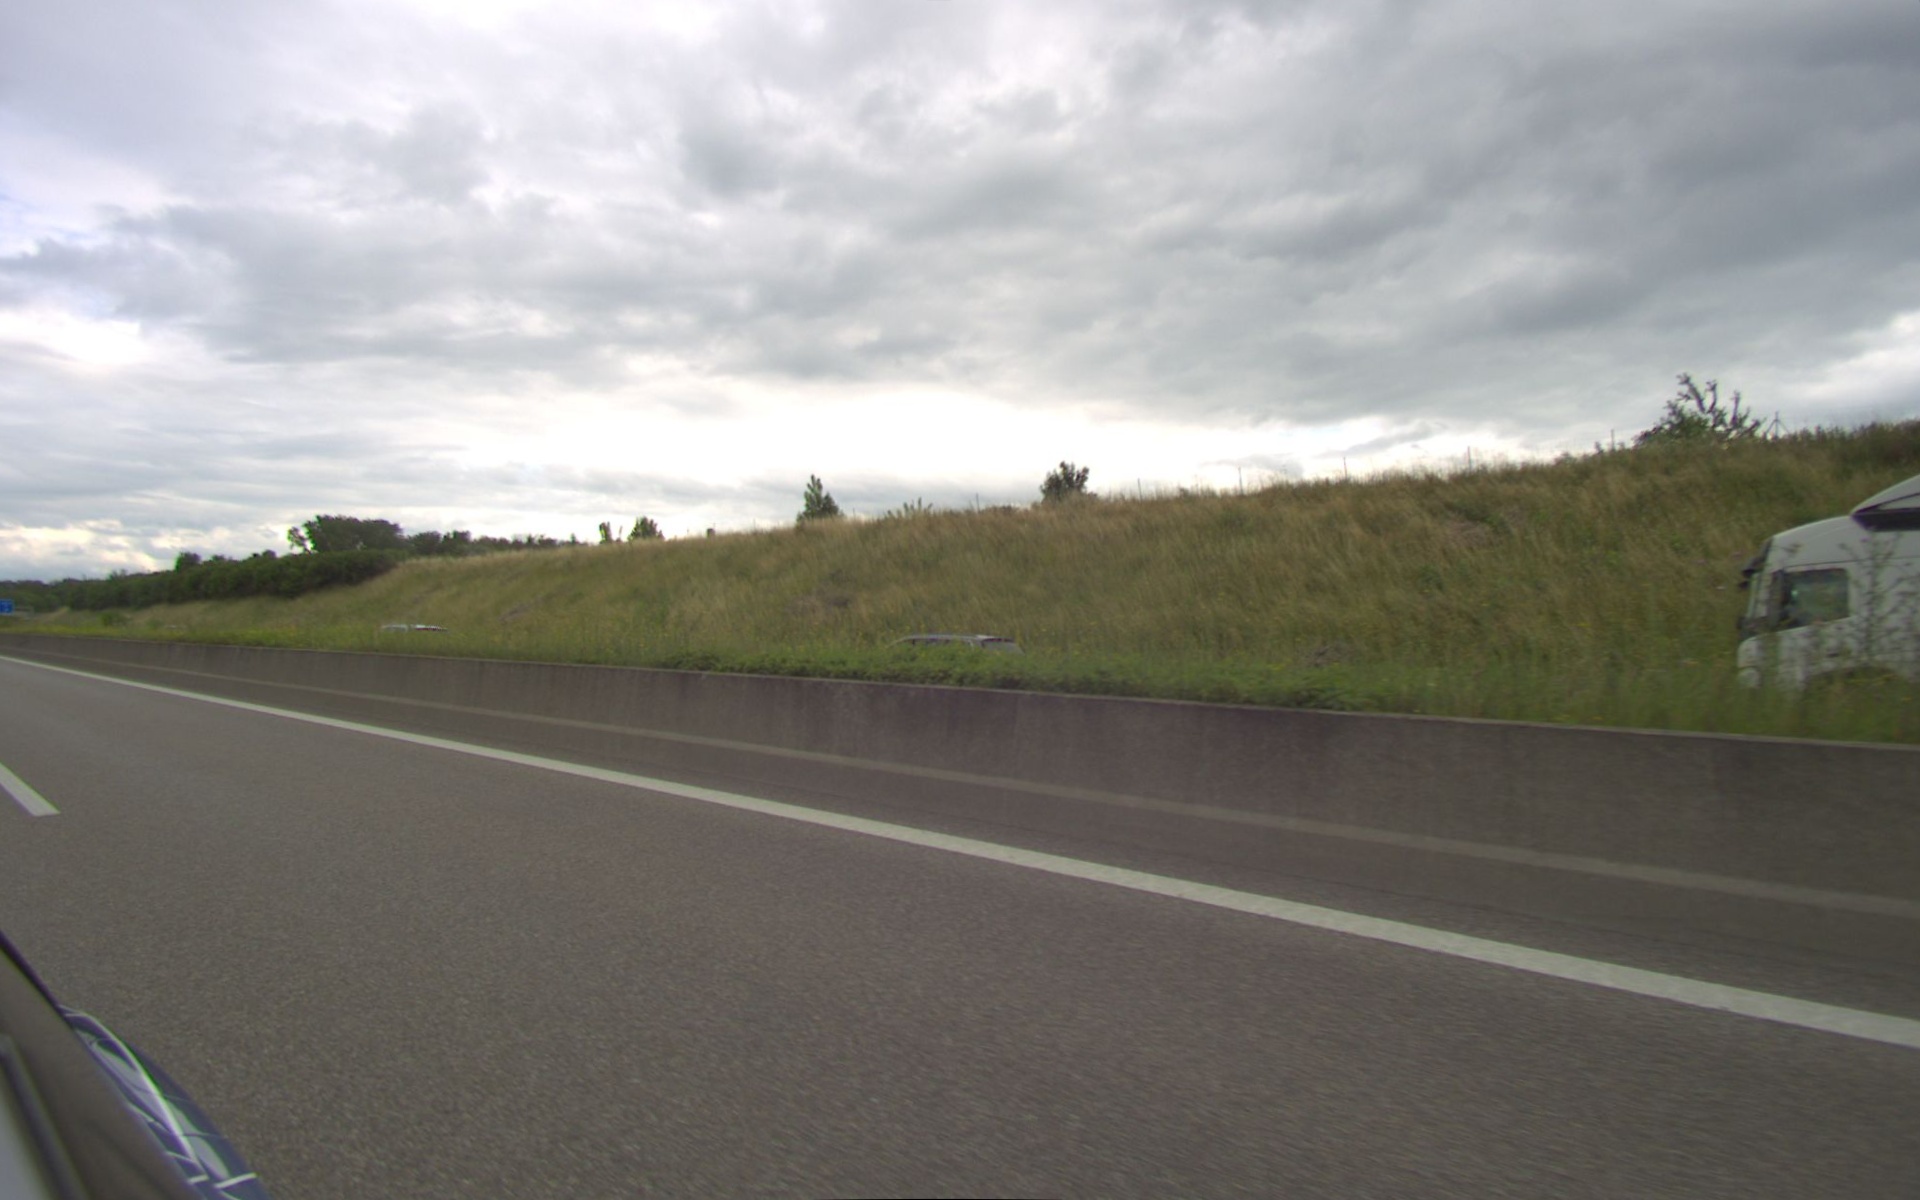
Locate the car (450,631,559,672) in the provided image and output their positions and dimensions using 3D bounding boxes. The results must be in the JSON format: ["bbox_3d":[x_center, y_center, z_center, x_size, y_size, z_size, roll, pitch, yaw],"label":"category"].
[{"bbox_3d":[-11.703,1.281,25.956,2.924,0.978,1.472,-1,-2,41],"label":"car"}]

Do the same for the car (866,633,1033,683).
[{"bbox_3d":[-0.261,1.180,21.214,3.345,0.868,1.509,-1,0,41],"label":"car"}]

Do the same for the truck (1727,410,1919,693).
[{"bbox_3d":[15.994,-0.656,11.888,10.929,3.630,3.225,-1,-2,41],"label":"truck"}]
